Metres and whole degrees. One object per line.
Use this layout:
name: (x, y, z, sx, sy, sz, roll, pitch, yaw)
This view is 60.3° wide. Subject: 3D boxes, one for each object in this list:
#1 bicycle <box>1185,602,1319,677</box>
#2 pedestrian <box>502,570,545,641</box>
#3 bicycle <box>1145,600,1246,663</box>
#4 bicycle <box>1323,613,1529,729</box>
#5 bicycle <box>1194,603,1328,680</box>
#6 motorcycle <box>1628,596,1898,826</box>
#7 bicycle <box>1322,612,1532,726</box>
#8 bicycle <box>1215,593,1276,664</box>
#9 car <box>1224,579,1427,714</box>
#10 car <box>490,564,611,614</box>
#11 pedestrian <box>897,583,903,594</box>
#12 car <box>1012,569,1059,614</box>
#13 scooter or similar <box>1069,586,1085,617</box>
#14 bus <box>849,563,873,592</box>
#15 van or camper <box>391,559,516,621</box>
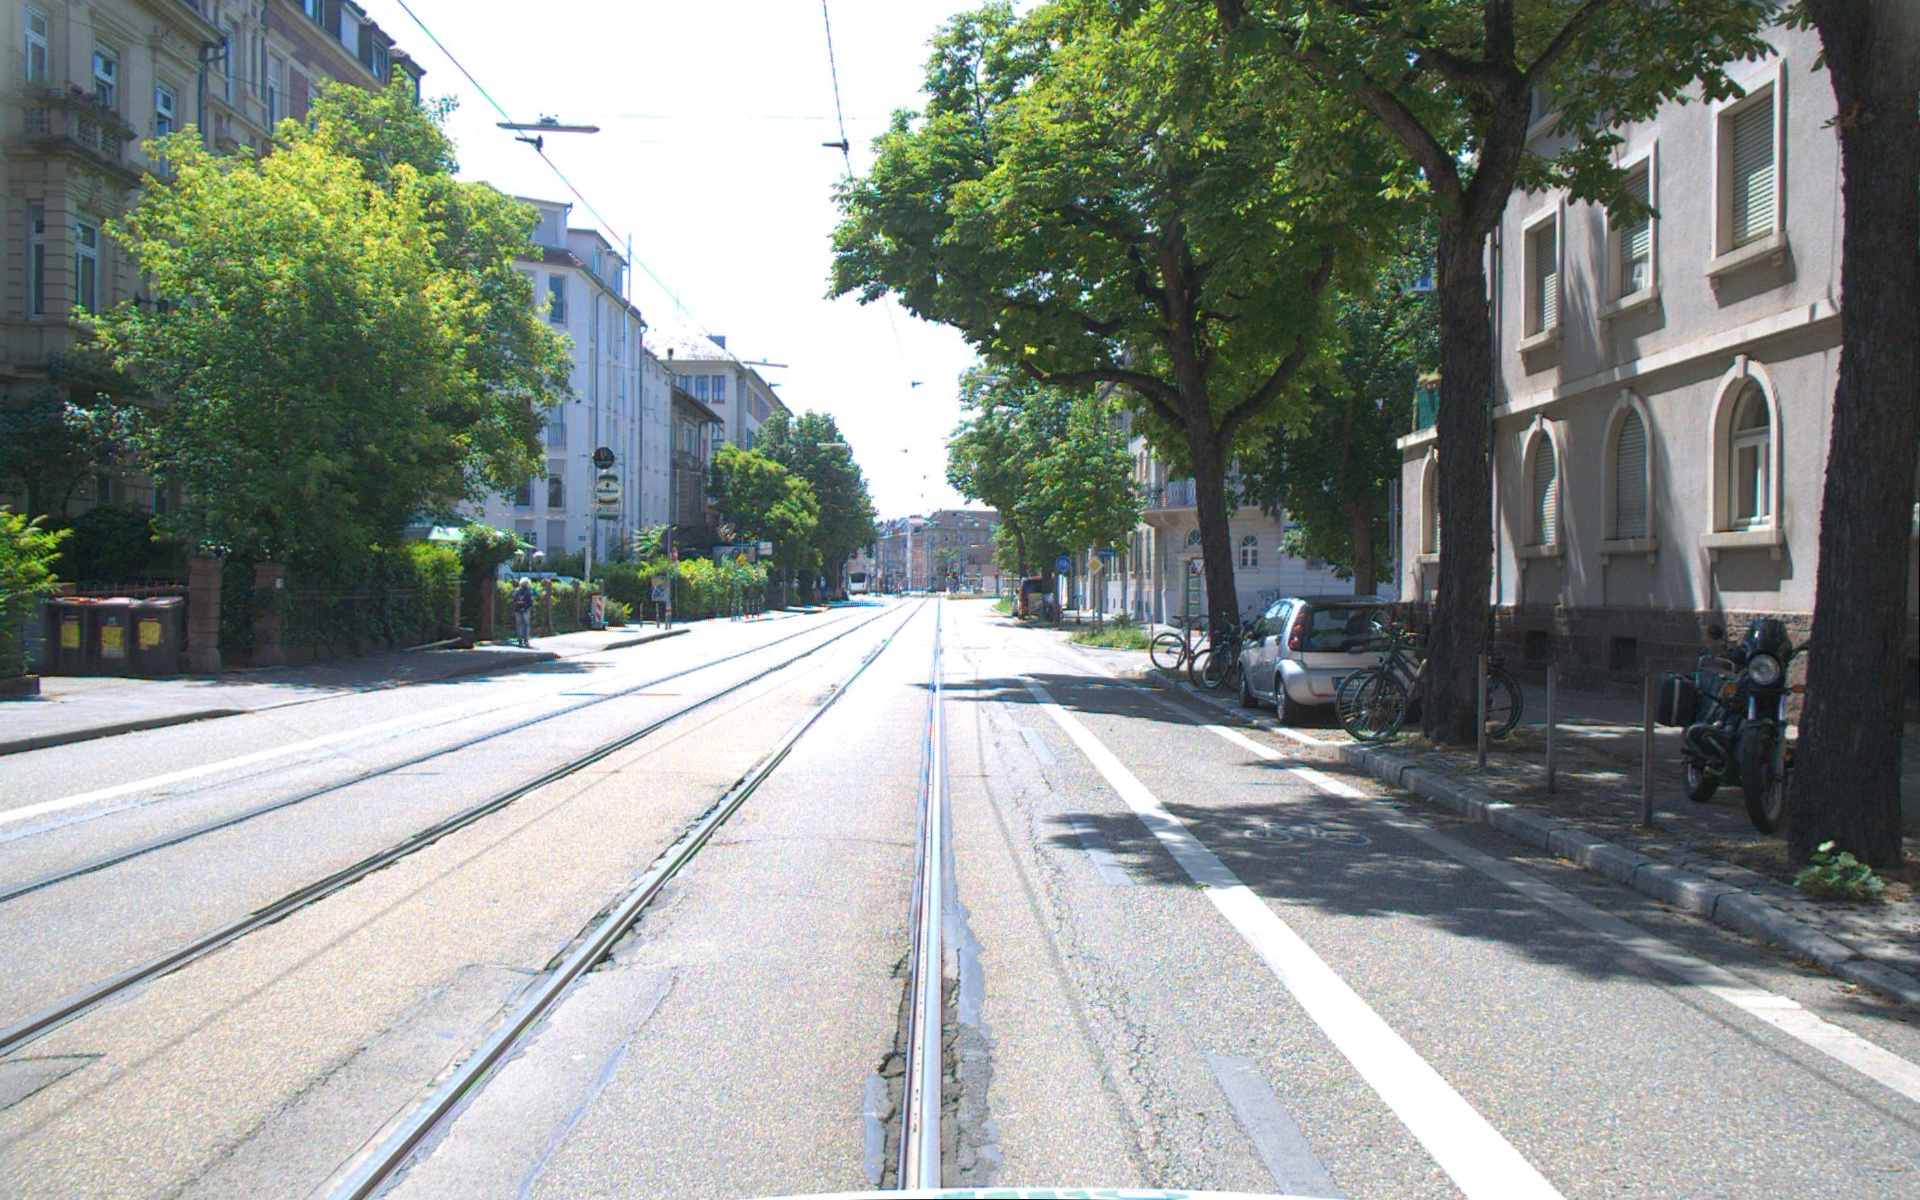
bicycle: (4.507, 0.610, 25.637, 1.968, 1.133, 0.640, 0, -1, 1)
pedestrian: (-10.351, 0.121, 39.248, 0.735, 1.657, 0.833, 1, 0, 1)
bicycle: (4.301, 0.574, 30.239, 1.779, 1.133, 0.493, 0, -1, -2)
bicycle: (4.493, 0.677, 16.031, 1.849, 1.070, 0.538, 1, 0, 6)
bicycle: (4.537, 0.626, 25.012, 1.922, 1.133, 0.599, 0, -1, 1)
motorcycle: (5.219, 0.649, 10.960, 0.975, 1.322, 2.381, 0, 1, 10)
bicycle: (4.596, 0.669, 16.370, 1.921, 1.082, 0.599, 1, 0, 6)
bicycle: (5.164, 0.512, 30.030, 0.569, 1.252, 2.004, 0, -1, -6)
car: (4.433, 0.523, 20.586, 1.589, 1.473, 3.809, -2, 0, -1)
car: (-16.872, -0.443, 68.221, 4.386, 1.937, 2.001, 1, 0, 16)
pedestrian: (-6.728, -1.277, 184.766, 0.484, 1.193, 0.585, 0, 0, -24)
car: (3.607, -0.456, 79.347, 1.953, 2.071, 4.696, 0, 1, -1)
scooter or similar: (4.726, 0.064, 67.042, 0.491, 1.251, 1.573, 1, 0, -1)
bus: (-14.178, -3.177, 237.188, 2.871, 4.005, 11.272, 2, 0, -1)
van or camper: (-18.442, -0.354, 60.415, 1.952, 2.156, 4.801, 1, 0, 18)
